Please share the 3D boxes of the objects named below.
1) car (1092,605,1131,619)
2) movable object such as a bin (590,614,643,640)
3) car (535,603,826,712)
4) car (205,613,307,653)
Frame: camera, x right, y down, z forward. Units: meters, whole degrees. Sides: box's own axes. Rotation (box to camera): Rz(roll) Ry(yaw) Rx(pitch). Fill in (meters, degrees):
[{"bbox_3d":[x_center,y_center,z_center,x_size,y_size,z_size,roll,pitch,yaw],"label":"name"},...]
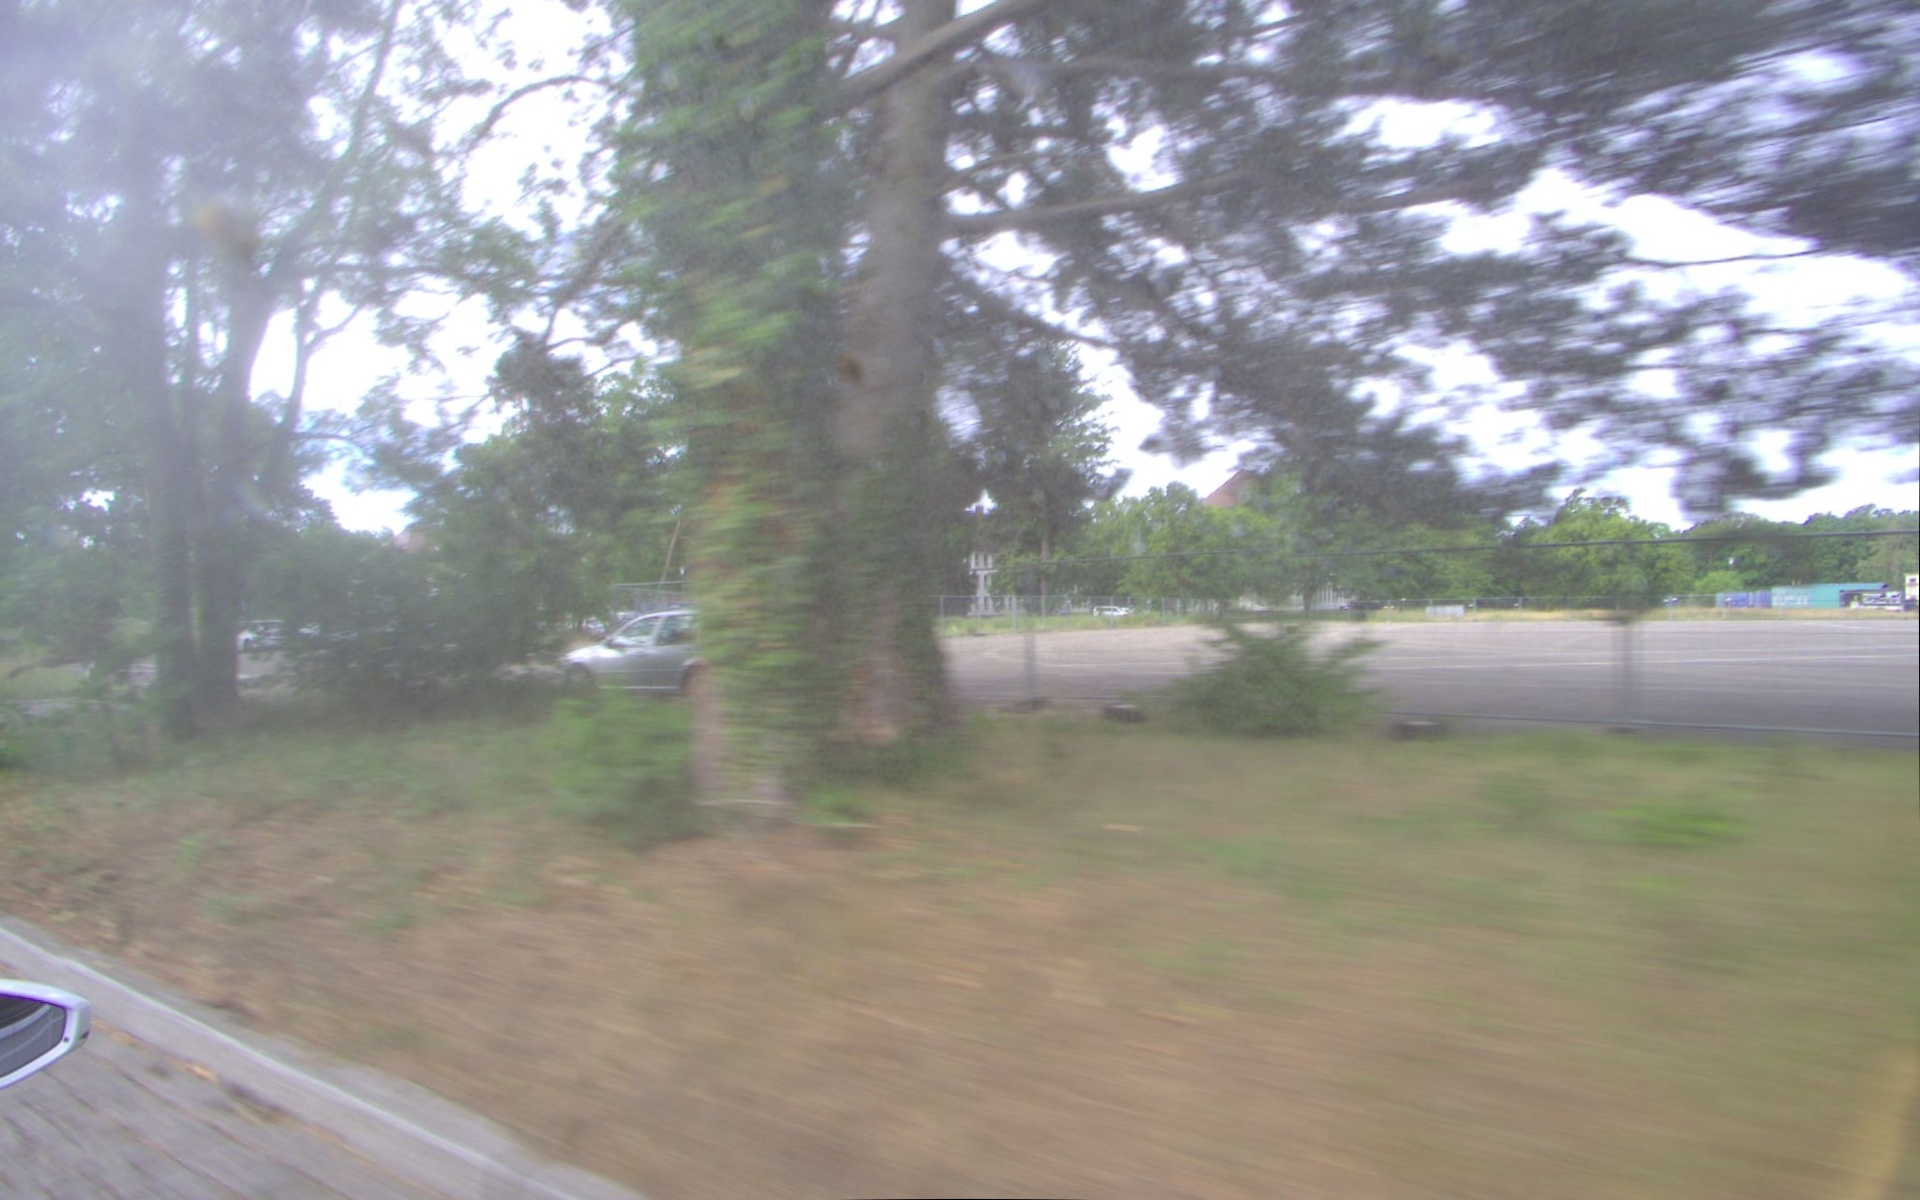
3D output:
[{"bbox_3d":[21.817,1.763,144.304,5.222,1.979,2.080,-1,-2,32],"label":"car"},{"bbox_3d":[-15.363,1.212,44.810,2.176,1.149,0.960,-1,-2,23],"label":"movable object such as a bin"},{"bbox_3d":[-4.335,0.832,15.359,4.421,1.469,1.672,-1,-1,29],"label":"car"},{"bbox_3d":[-30.545,1.457,43.428,4.541,1.505,1.847,-4,-3,29],"label":"car"}]
